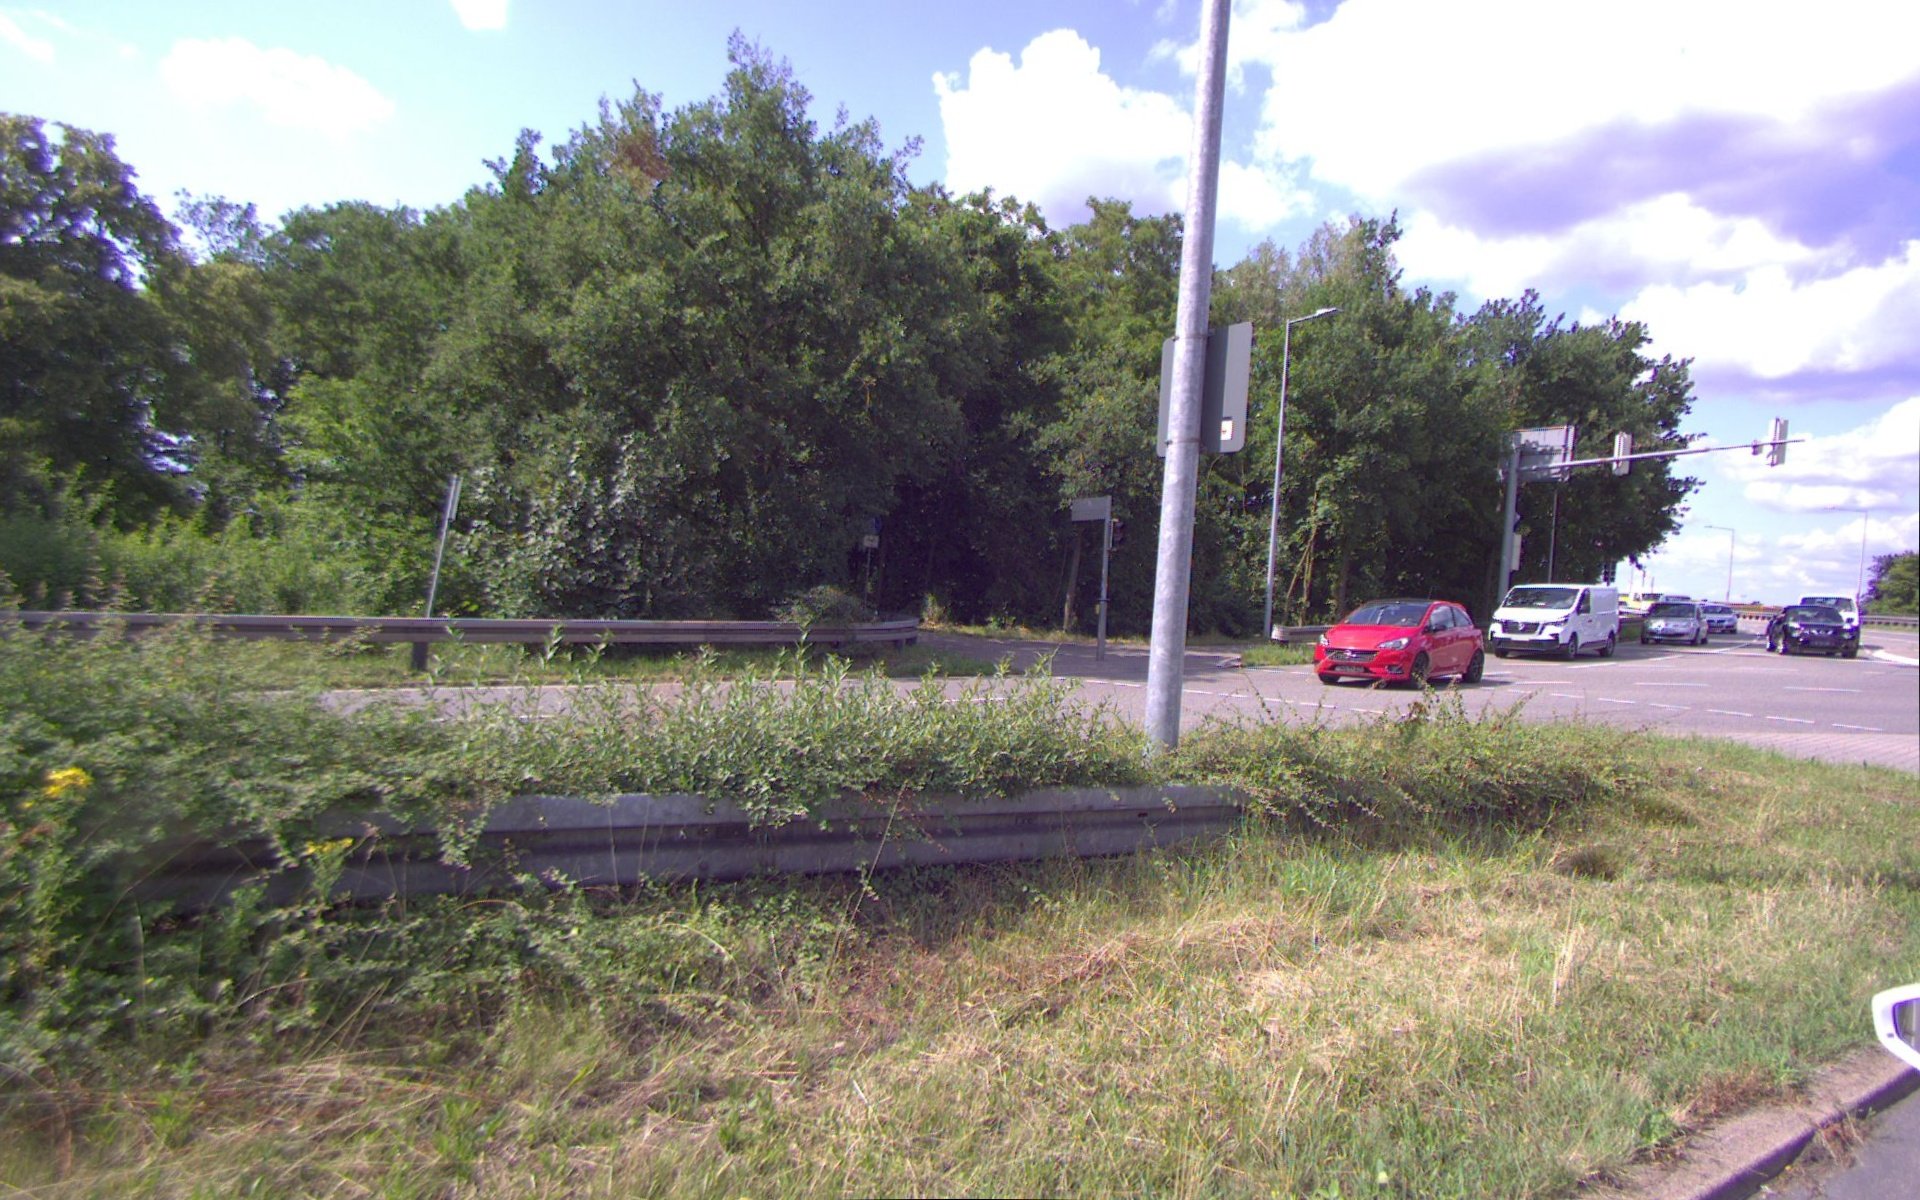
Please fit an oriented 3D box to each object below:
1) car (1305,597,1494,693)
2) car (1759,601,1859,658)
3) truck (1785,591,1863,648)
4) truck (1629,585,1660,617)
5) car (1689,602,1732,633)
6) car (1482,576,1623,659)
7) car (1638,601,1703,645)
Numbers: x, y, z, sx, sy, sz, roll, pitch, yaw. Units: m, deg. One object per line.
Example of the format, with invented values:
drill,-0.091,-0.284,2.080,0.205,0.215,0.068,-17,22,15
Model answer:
car,7.752,0.732,17.551,3.972,1.451,1.566,1,0,-43
car,26.351,0.851,31.292,1.673,1.578,3.814,2,2,30
truck,32.781,0.686,38.232,1.936,1.939,5.347,3,2,38
truck,59.569,0.046,87.478,1.965,2.656,6.088,1,1,32
car,39.024,0.880,52.284,1.660,1.498,4.696,1,0,36
car,16.130,0.482,27.224,5.100,2.040,1.974,2,-1,-44
car,26.321,0.816,37.155,1.712,1.541,4.050,0,0,39
